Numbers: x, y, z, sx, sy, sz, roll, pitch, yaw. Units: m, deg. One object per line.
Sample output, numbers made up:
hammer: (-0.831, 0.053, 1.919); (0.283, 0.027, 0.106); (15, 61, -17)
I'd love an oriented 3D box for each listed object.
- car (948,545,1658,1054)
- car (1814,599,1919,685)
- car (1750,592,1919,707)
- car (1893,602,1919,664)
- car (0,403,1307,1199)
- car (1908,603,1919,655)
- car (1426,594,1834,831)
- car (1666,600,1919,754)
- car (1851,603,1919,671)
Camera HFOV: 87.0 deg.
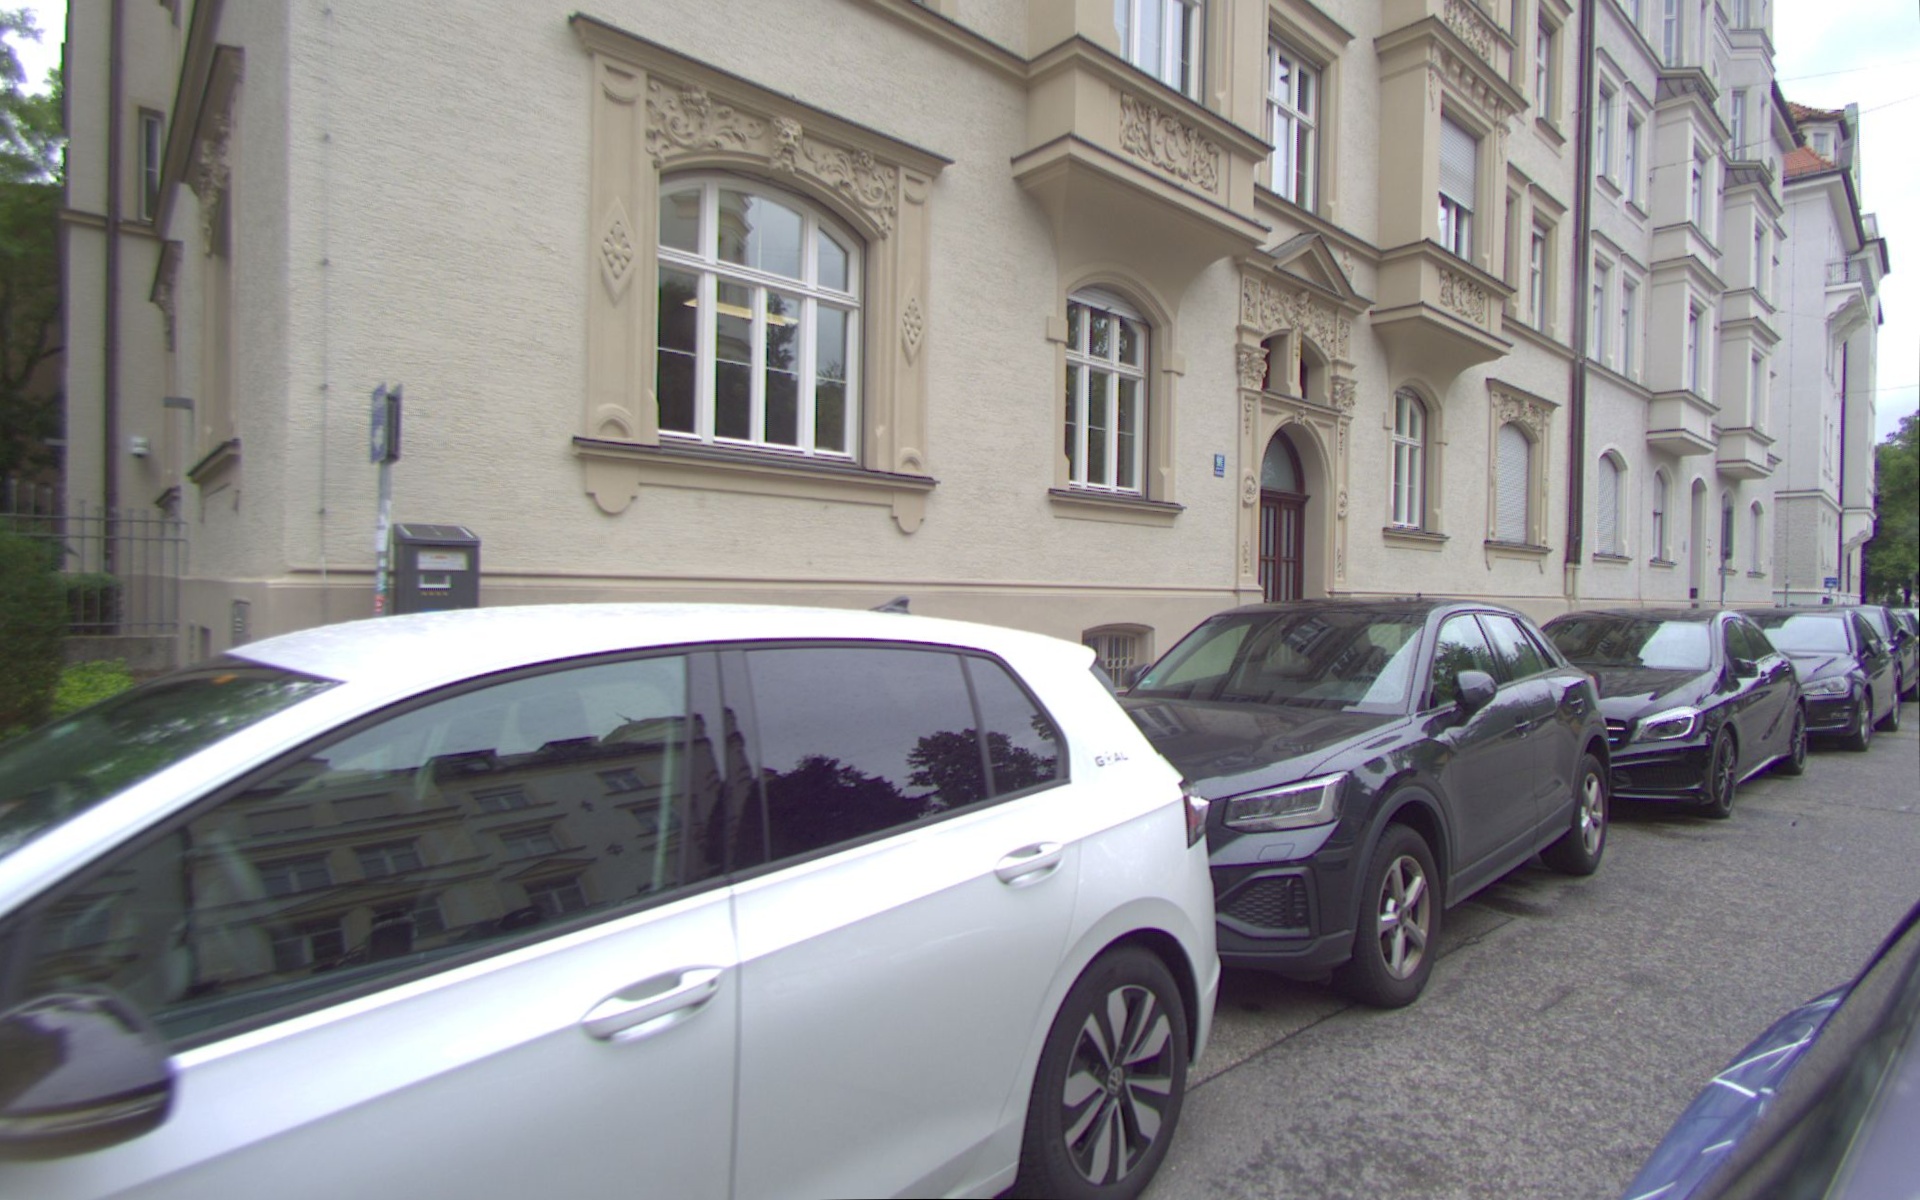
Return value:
car: (1.996, 0.644, 5.108); (1.792, 1.518, 4.016); (-3, -3, 45)
car: (17.421, 0.723, 18.958); (3.534, 1.458, 1.659); (0, 0, -41)
car: (13.581, 0.658, 15.442); (3.889, 1.535, 1.745); (0, 0, -42)
car: (24.770, 0.793, 25.456); (4.018, 1.489, 1.711); (0, -1, -45)
car: (-1.005, 0.576, 2.102); (3.997, 1.527, 1.664); (1, -1, -44)
car: (28.315, 0.792, 28.858); (4.018, 1.408, 1.711); (0, -1, -45)
car: (5.577, 0.710, 8.235); (3.952, 1.416, 1.744); (-1, -1, -41)
car: (9.540, 0.729, 11.443); (3.930, 1.436, 1.644); (0, -1, -41)
car: (21.315, 0.770, 22.560); (3.931, 1.408, 1.713); (0, -1, -42)
